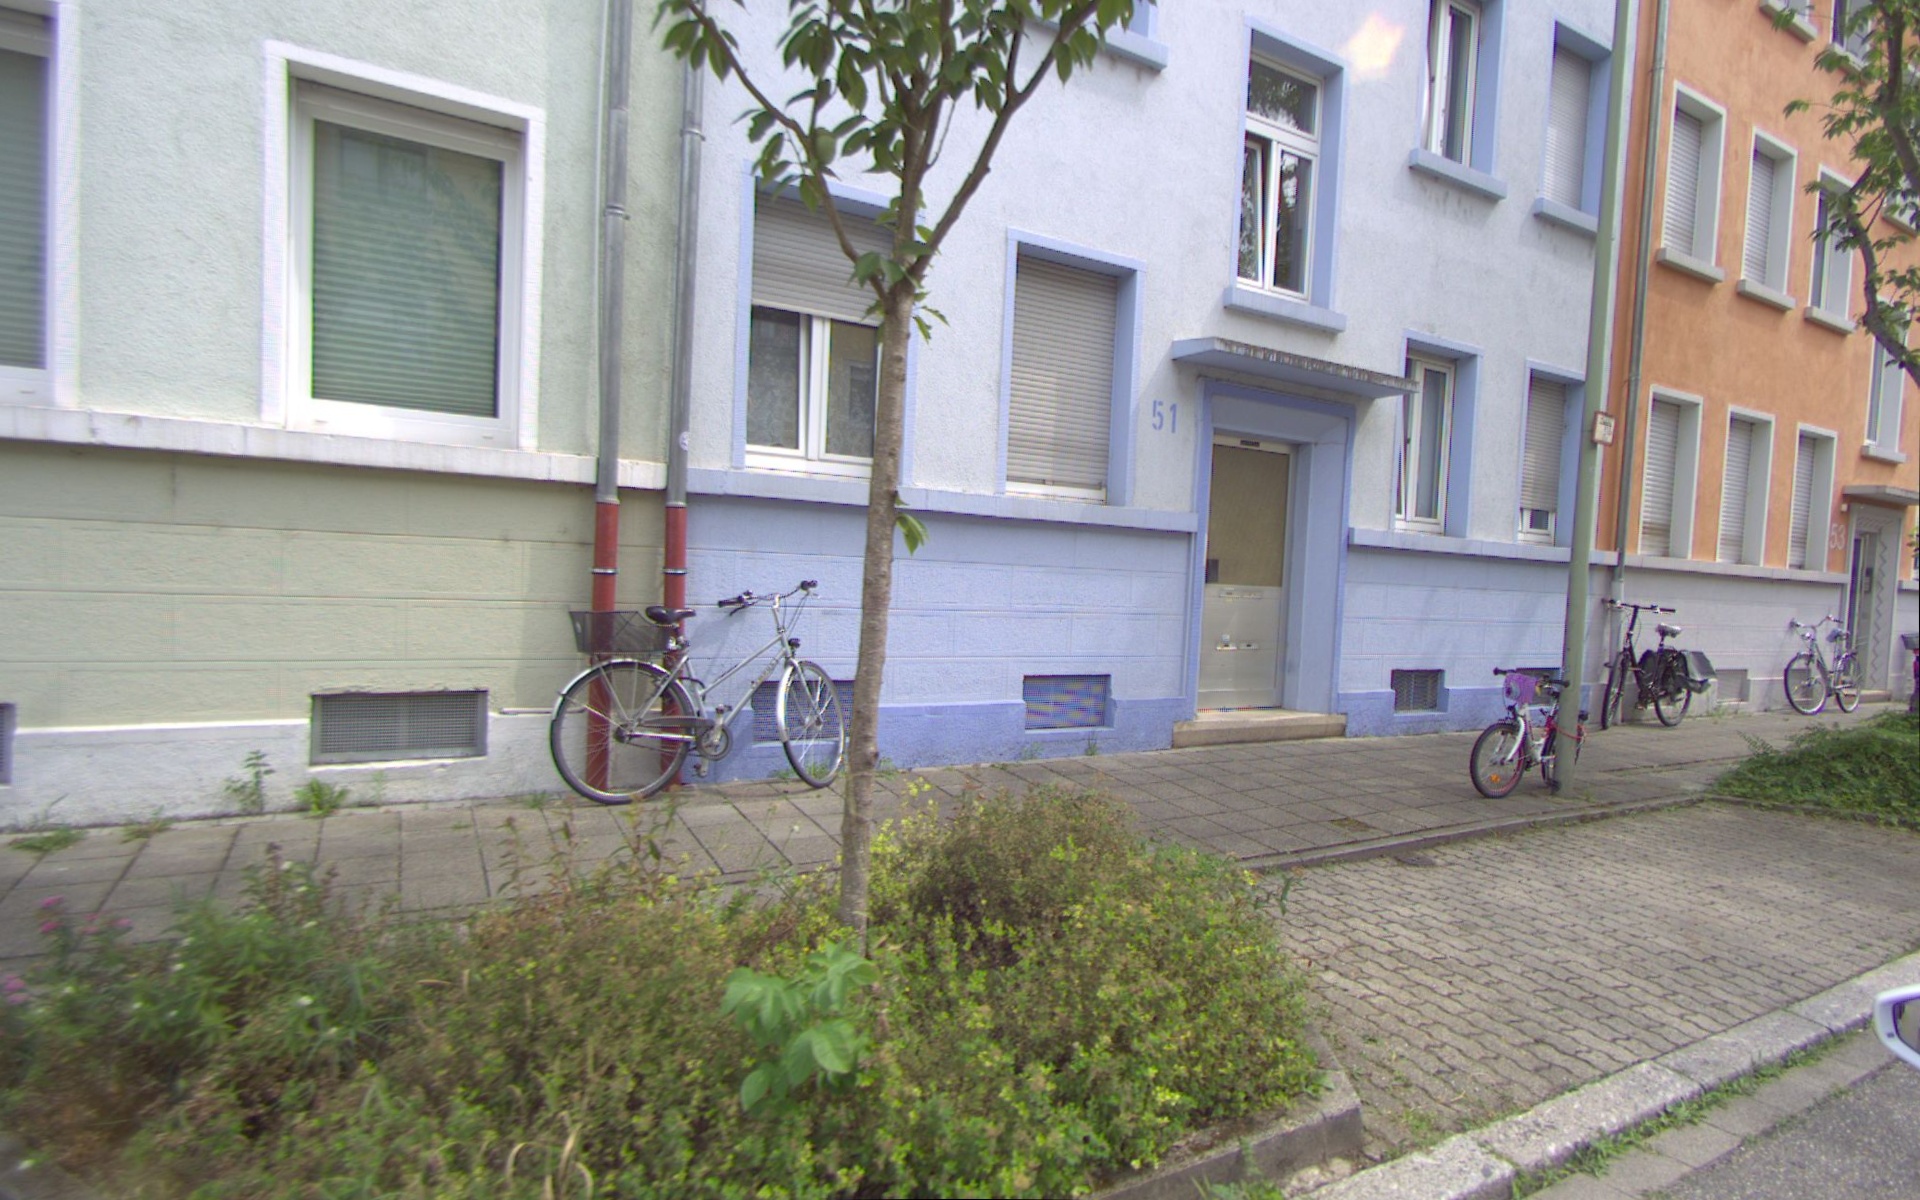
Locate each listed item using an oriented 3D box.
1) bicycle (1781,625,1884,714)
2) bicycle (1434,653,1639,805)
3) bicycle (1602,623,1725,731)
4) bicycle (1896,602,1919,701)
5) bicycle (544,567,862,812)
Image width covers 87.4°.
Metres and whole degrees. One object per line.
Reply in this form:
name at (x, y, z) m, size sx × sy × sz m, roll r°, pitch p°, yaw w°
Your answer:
bicycle at (10.683, 0.840, 12.284) m, size 1.846 × 1.019 × 0.365 m, roll 2°, pitch 0°, yaw -31°
bicycle at (3.871, 0.826, 6.714) m, size 1.520 × 0.884 × 0.411 m, roll 2°, pitch 5°, yaw -30°
bicycle at (7.067, 0.754, 10.072) m, size 1.551 × 1.009 × 0.365 m, roll 2°, pitch 1°, yaw -31°
bicycle at (13.883, 0.730, 14.168) m, size 1.789 × 1.352 × 0.427 m, roll 2°, pitch 0°, yaw -29°
bicycle at (-1.284, 0.433, 5.165) m, size 1.520 × 1.128 × 0.365 m, roll 2°, pitch 0°, yaw -31°
